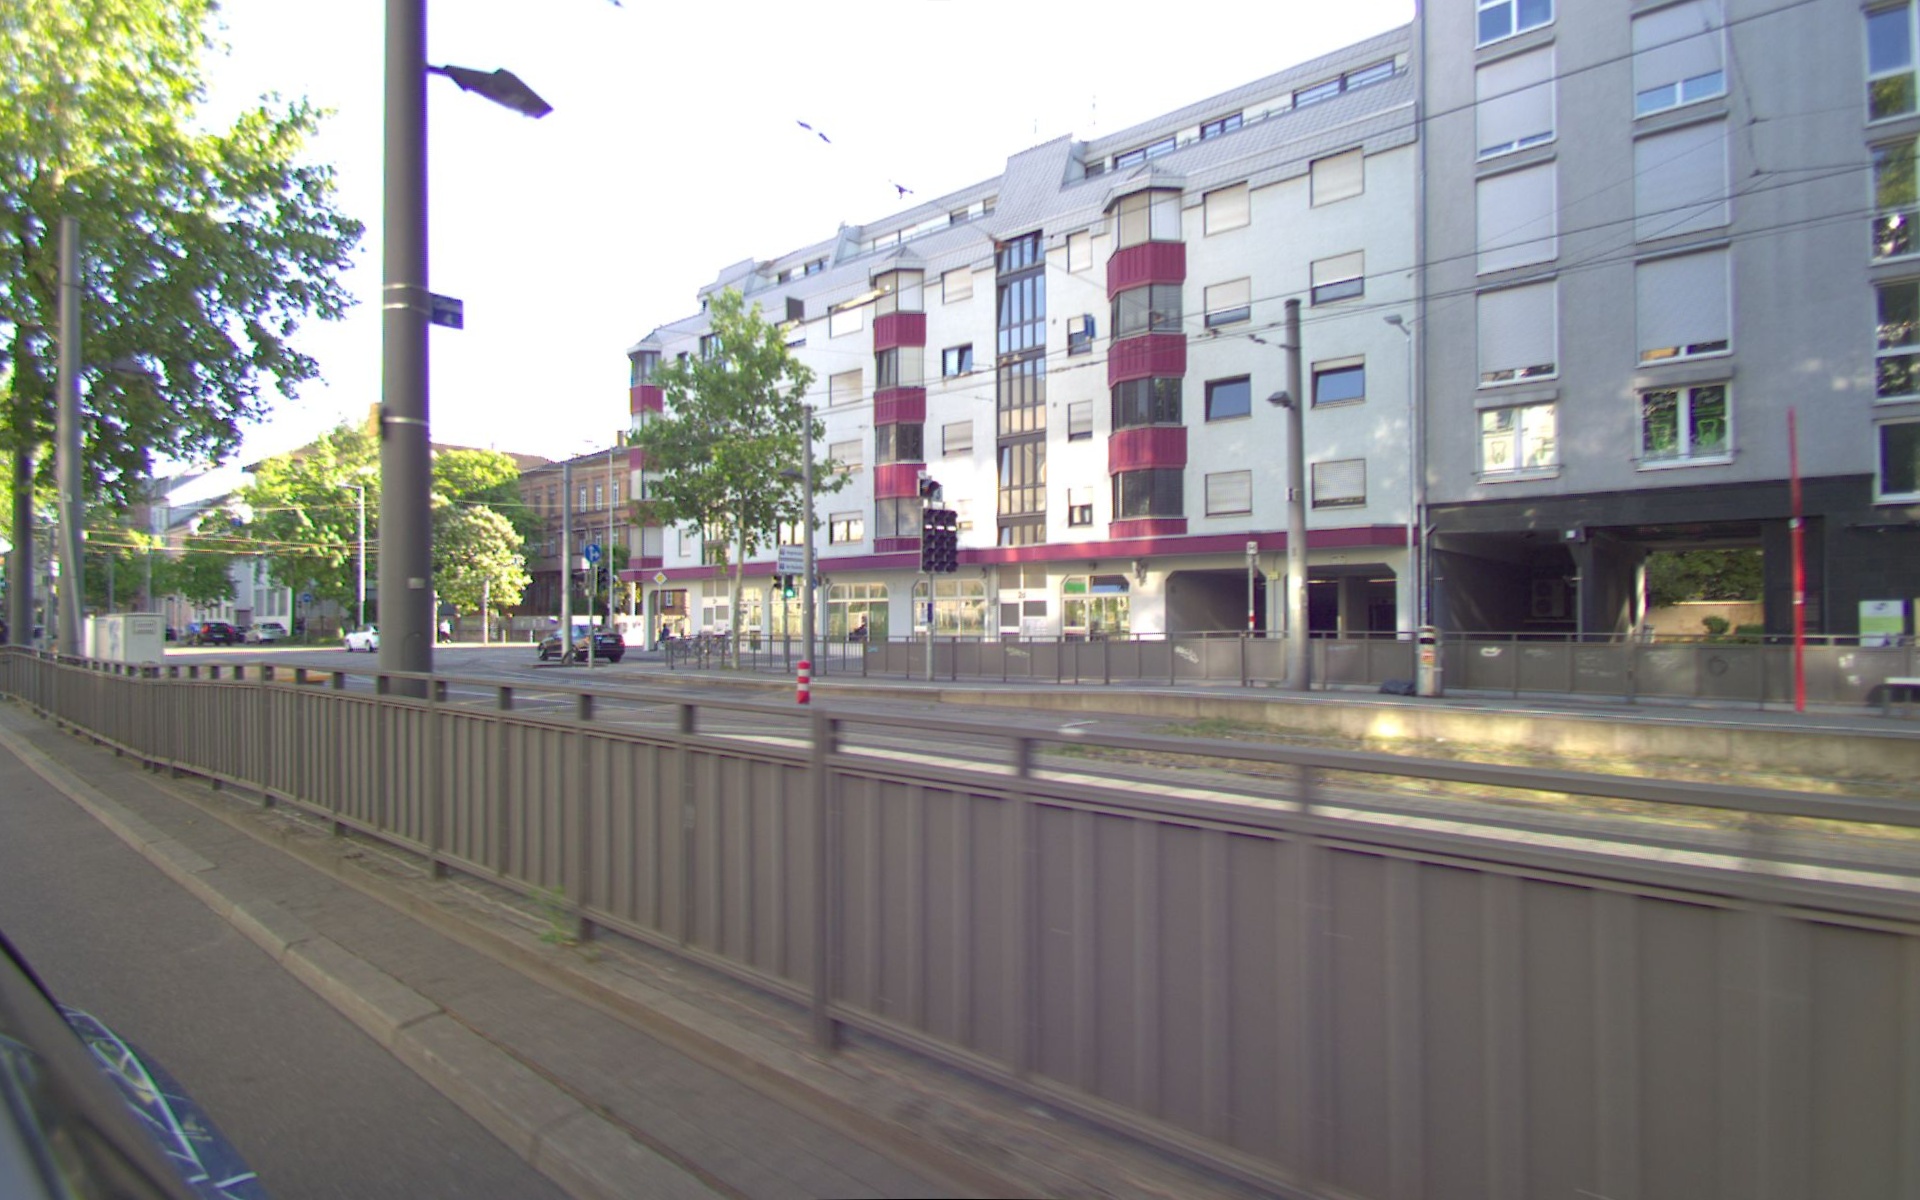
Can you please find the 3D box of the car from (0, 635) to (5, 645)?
[{"bbox_3d":[-152.105,6.330,159.306,4.251,1.552,2.062,-2,0,38],"label":"car"}]

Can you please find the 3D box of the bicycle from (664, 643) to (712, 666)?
[{"bbox_3d":[-10.829,2.157,40.277,0.553,0.860,1.822,-2,-3,44],"label":"bicycle"}]

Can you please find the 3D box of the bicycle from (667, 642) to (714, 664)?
[{"bbox_3d":[-10.978,2.153,41.207,0.553,0.860,1.822,-2,-3,44],"label":"bicycle"}]

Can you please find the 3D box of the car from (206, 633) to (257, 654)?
[{"bbox_3d":[-56.663,3.352,78.659,4.452,1.513,2.062,-2,0,38],"label":"car"}]

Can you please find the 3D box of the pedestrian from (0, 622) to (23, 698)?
[{"bbox_3d":[-20.289,1.244,21.060,1.031,1.556,0.696,1,-2,-33],"label":"pedestrian"}]

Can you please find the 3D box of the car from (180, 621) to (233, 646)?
[{"bbox_3d":[-51.079,2.270,68.578,4.257,1.685,1.935,-2,-3,40],"label":"car"}]

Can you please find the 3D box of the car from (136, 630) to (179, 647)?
[{"bbox_3d":[-74.111,3.531,93.435,4.573,1.481,2.062,-2,0,38],"label":"car"}]

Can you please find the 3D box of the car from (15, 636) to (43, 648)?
[{"bbox_3d":[-123.592,5.565,134.333,4.511,1.552,2.062,-2,0,38],"label":"car"}]

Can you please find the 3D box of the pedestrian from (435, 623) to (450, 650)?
[{"bbox_3d":[-33.918,2.394,66.357,0.624,1.677,0.568,-2,0,10],"label":"pedestrian"}]

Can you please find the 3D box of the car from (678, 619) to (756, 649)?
[{"bbox_3d":[-13.396,1.848,56.005,1.994,1.567,3.955,-1,-2,33],"label":"car"}]

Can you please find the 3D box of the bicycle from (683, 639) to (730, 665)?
[{"bbox_3d":[-9.862,2.014,39.453,0.552,0.992,1.825,-2,-2,39],"label":"bicycle"}]

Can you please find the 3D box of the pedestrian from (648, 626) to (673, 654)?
[{"bbox_3d":[-15.136,2.021,51.133,0.834,1.395,0.850,-1,-2,31],"label":"pedestrian"}]

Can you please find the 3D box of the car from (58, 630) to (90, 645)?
[{"bbox_3d":[-105.465,4.481,120.462,4.527,1.686,2.062,-2,0,38],"label":"car"}]

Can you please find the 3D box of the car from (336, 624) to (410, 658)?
[{"bbox_3d":[-29.187,2.020,50.294,4.258,1.607,1.934,-2,-3,41],"label":"car"}]

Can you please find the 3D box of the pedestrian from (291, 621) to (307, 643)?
[{"bbox_3d":[-52.661,2.550,80.603,1.018,1.765,0.726,-2,-3,39],"label":"pedestrian"}]

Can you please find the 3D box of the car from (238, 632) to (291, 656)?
[{"bbox_3d":[-51.261,3.223,74.564,4.093,1.631,2.062,-2,0,38],"label":"car"}]

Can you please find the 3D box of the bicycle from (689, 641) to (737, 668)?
[{"bbox_3d":[-9.487,2.078,38.957,0.552,0.992,1.825,-2,-2,39],"label":"bicycle"}]

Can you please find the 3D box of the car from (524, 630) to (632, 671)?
[{"bbox_3d":[-14.235,1.842,37.642,4.647,1.410,1.683,-1,-2,40],"label":"car"}]
